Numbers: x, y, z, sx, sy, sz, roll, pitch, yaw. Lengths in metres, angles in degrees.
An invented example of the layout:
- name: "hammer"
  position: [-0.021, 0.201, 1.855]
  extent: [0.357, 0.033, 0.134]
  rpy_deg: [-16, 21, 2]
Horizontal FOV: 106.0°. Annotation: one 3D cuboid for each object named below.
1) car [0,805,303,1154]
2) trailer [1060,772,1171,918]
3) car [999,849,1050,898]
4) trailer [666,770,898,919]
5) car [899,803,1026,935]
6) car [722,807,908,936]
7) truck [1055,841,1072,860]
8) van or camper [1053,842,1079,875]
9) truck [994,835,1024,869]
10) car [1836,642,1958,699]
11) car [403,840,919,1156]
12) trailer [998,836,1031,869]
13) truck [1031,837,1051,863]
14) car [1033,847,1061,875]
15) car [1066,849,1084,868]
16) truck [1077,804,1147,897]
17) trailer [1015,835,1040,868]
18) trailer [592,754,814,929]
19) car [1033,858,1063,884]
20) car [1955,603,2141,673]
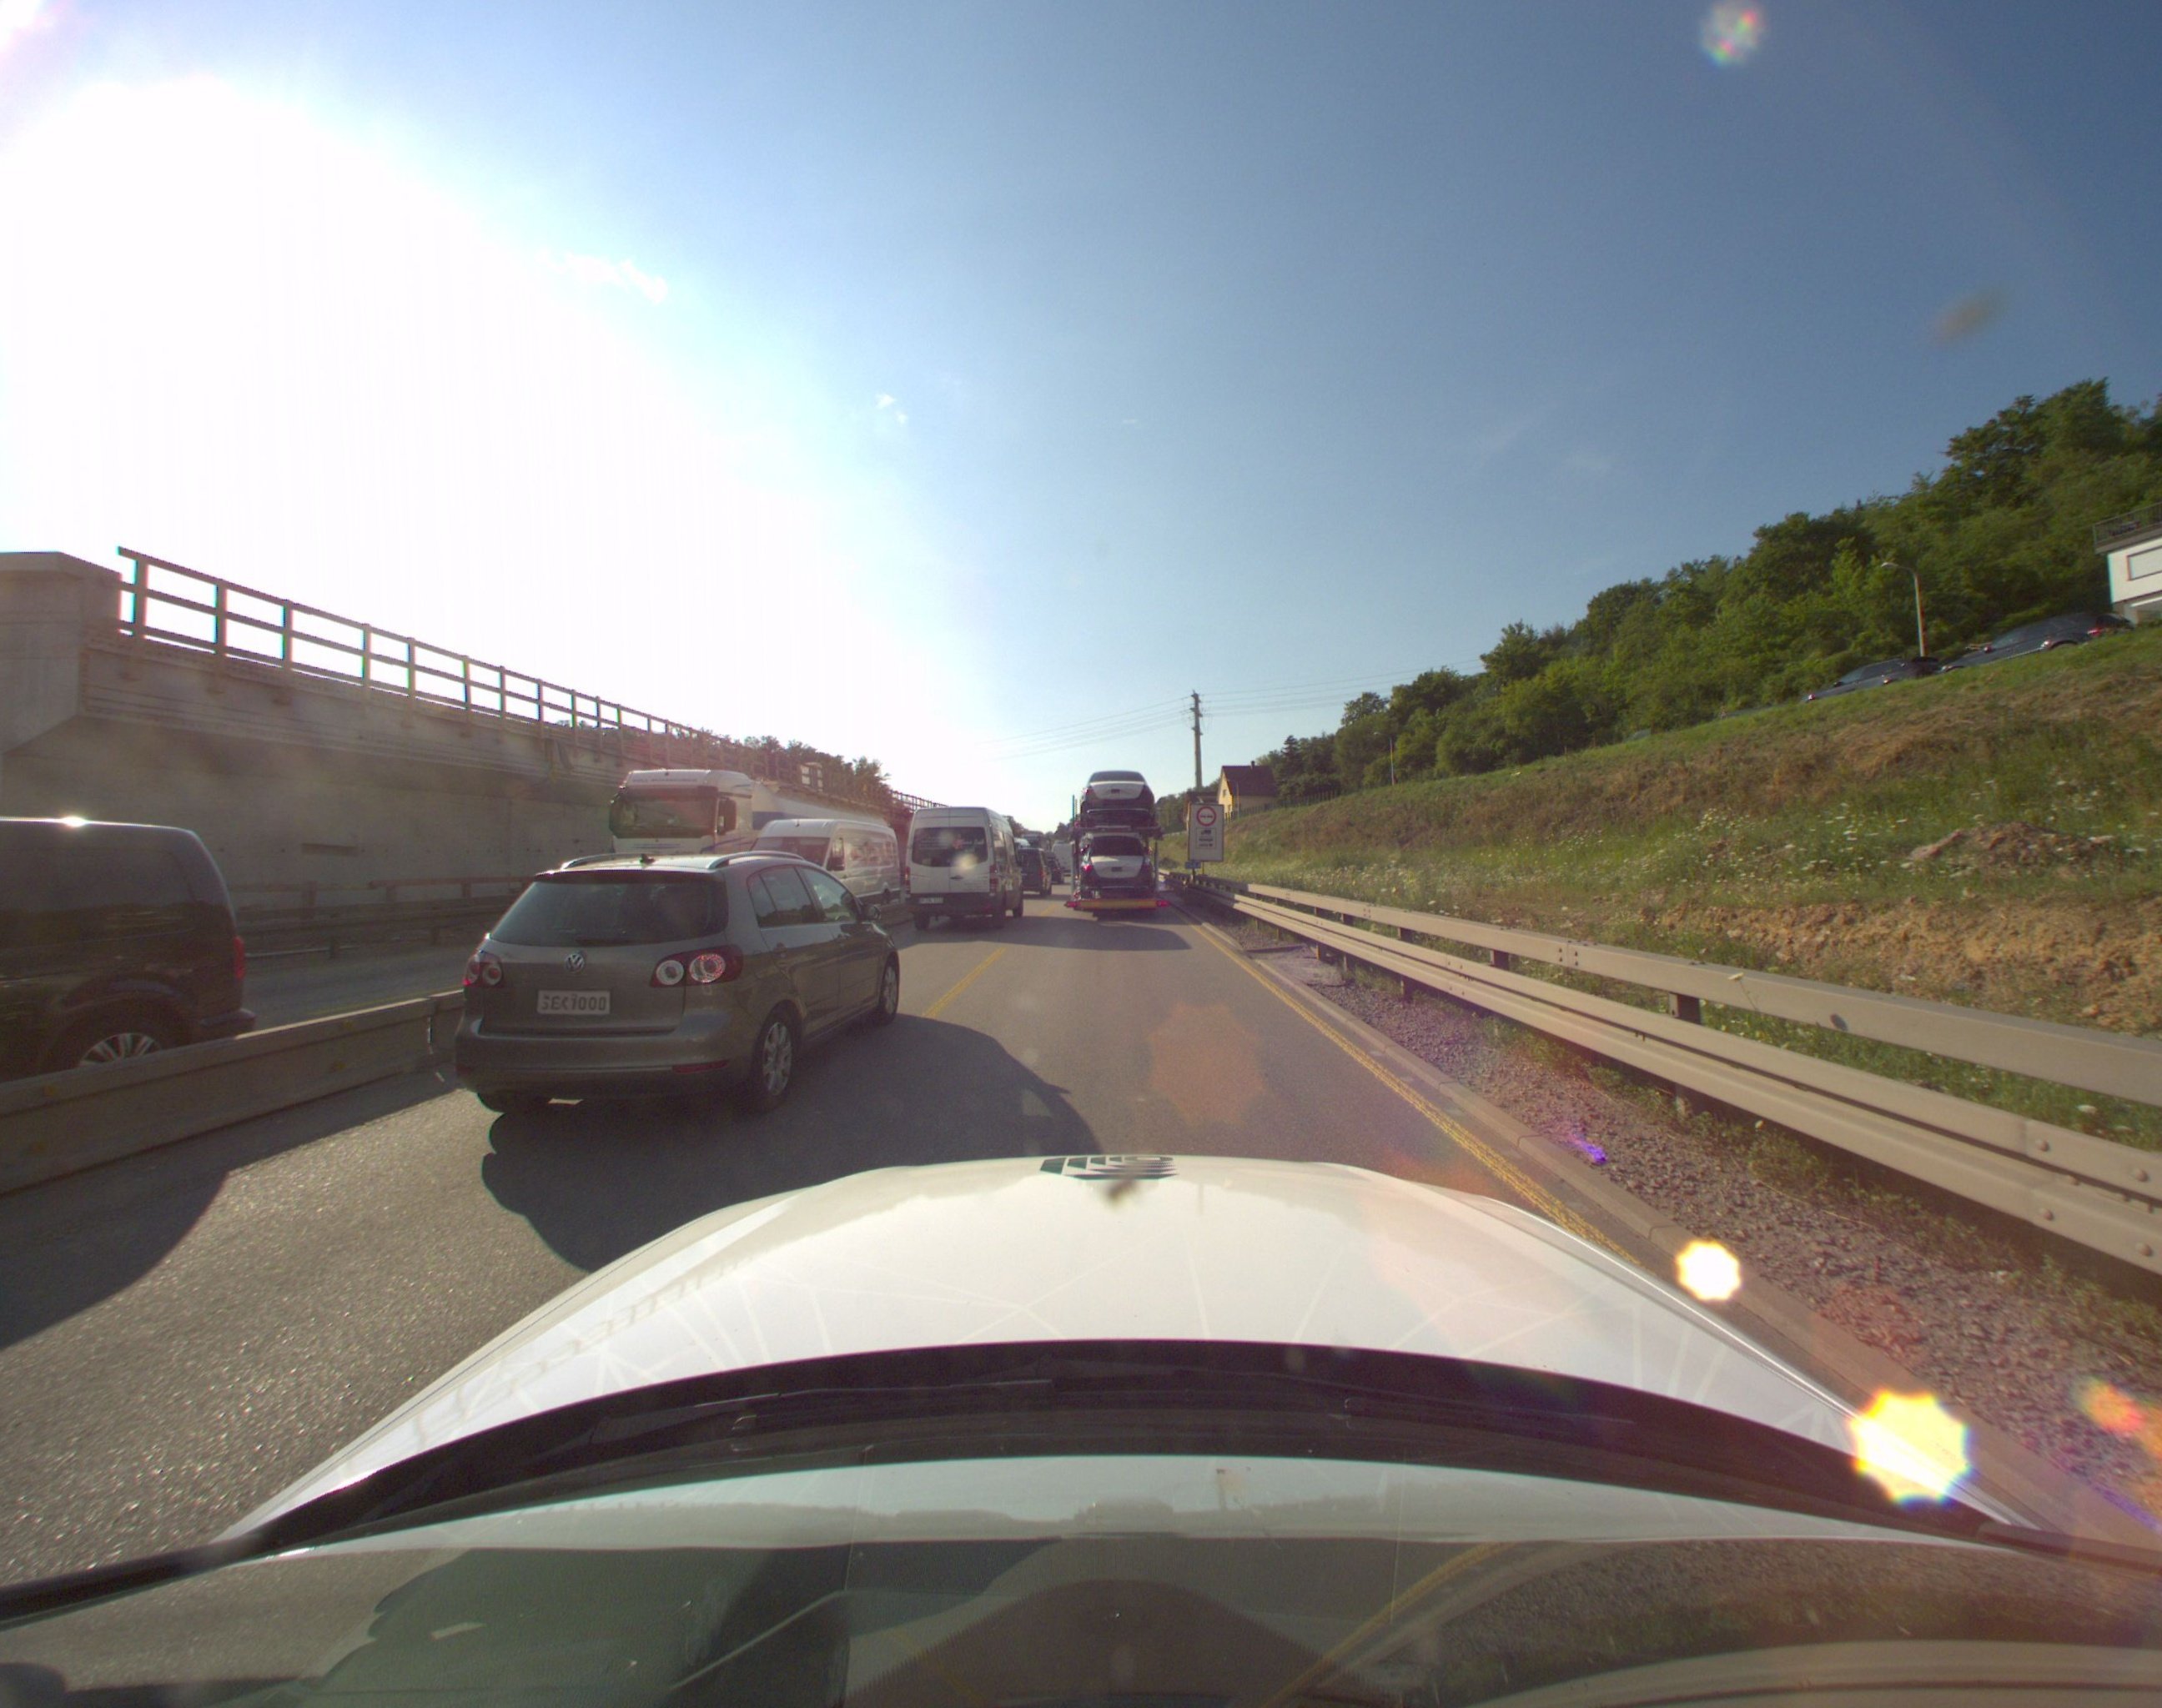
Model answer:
- name: "car"
  position: [-6.621, 0.658, 3.505]
  extent: [1.774, 1.843, 4.855]
  rpy_deg: [0, -1, 2]
- name: "trailer"
  position: [1.078, -0.171, 27.435]
  extent: [2.672, 3.535, 15.294]
  rpy_deg: [0, 0, 2]
- name: "car"
  position: [-2.299, 0.788, 34.032]
  extent: [1.802, 1.904, 4.000]
  rpy_deg: [0, -1, 0]
- name: "trailer"
  position: [-9.250, -0.201, 27.837]
  extent: [2.642, 3.850, 13.446]
  rpy_deg: [0, 0, 1]
- name: "car"
  position: [-2.601, 0.287, 19.367]
  extent: [1.986, 2.648, 5.532]
  rpy_deg: [-2, 0, 2]
- name: "car"
  position: [-6.181, 0.389, 20.235]
  extent: [1.986, 2.623, 7.412]
  rpy_deg: [0, -1, 2]
- name: "truck"
  position: [-3.338, -0.556, 157.393]
  extent: [2.705, 3.424, 8.141]
  rpy_deg: [-3, -1, 1]
- name: "van or camper"
  position: [-1.226, 0.393, 67.791]
  extent: [1.961, 2.591, 5.042]
  rpy_deg: [0, -1, 1]
- name: "truck"
  position: [-7.486, -0.219, 84.954]
  extent: [2.539, 3.409, 5.533]
  rpy_deg: [0, -1, 1]
- name: "car"
  position: [31.800, -7.107, 31.860]
  extent: [1.356, 1.458, 3.225]
  rpy_deg: [0, -1, -7]
- name: "car"
  position: [-2.588, 0.769, 6.312]
  extent: [1.674, 1.588, 4.273]
  rpy_deg: [-1, -1, 1]
- name: "trailer"
  position: [-7.339, -0.107, 91.202]
  extent: [2.547, 3.526, 10.686]
  rpy_deg: [0, -1, 2]
- name: "truck"
  position: [-6.292, -0.582, 128.405]
  extent: [2.850, 4.008, 5.659]
  rpy_deg: [0, -1, 1]
- name: "car"
  position: [-3.261, 0.659, 78.487]
  extent: [2.463, 2.534, 4.001]
  rpy_deg: [-1, 0, 1]
- name: "car"
  position: [-0.652, 0.515, 91.091]
  extent: [1.879, 2.100, 3.766]
  rpy_deg: [-1, 0, 1]
- name: "truck"
  position: [1.309, -0.110, 34.923]
  extent: [2.672, 3.535, 7.196]
  rpy_deg: [0, 0, 2]
- name: "trailer"
  position: [-7.002, -0.359, 107.291]
  extent: [2.755, 4.141, 5.978]
  rpy_deg: [0, 1, 1]
- name: "trailer"
  position: [-9.427, -0.255, 21.247]
  extent: [2.643, 3.850, 6.431]
  rpy_deg: [0, -1, 1]
- name: "car"
  position: [-2.029, 1.022, 50.821]
  extent: [1.720, 1.522, 3.973]
  rpy_deg: [0, 0, 0]
- name: "car"
  position: [32.205, -7.147, 27.301]
  extent: [1.344, 1.232, 3.887]
  rpy_deg: [0, -1, -10]
